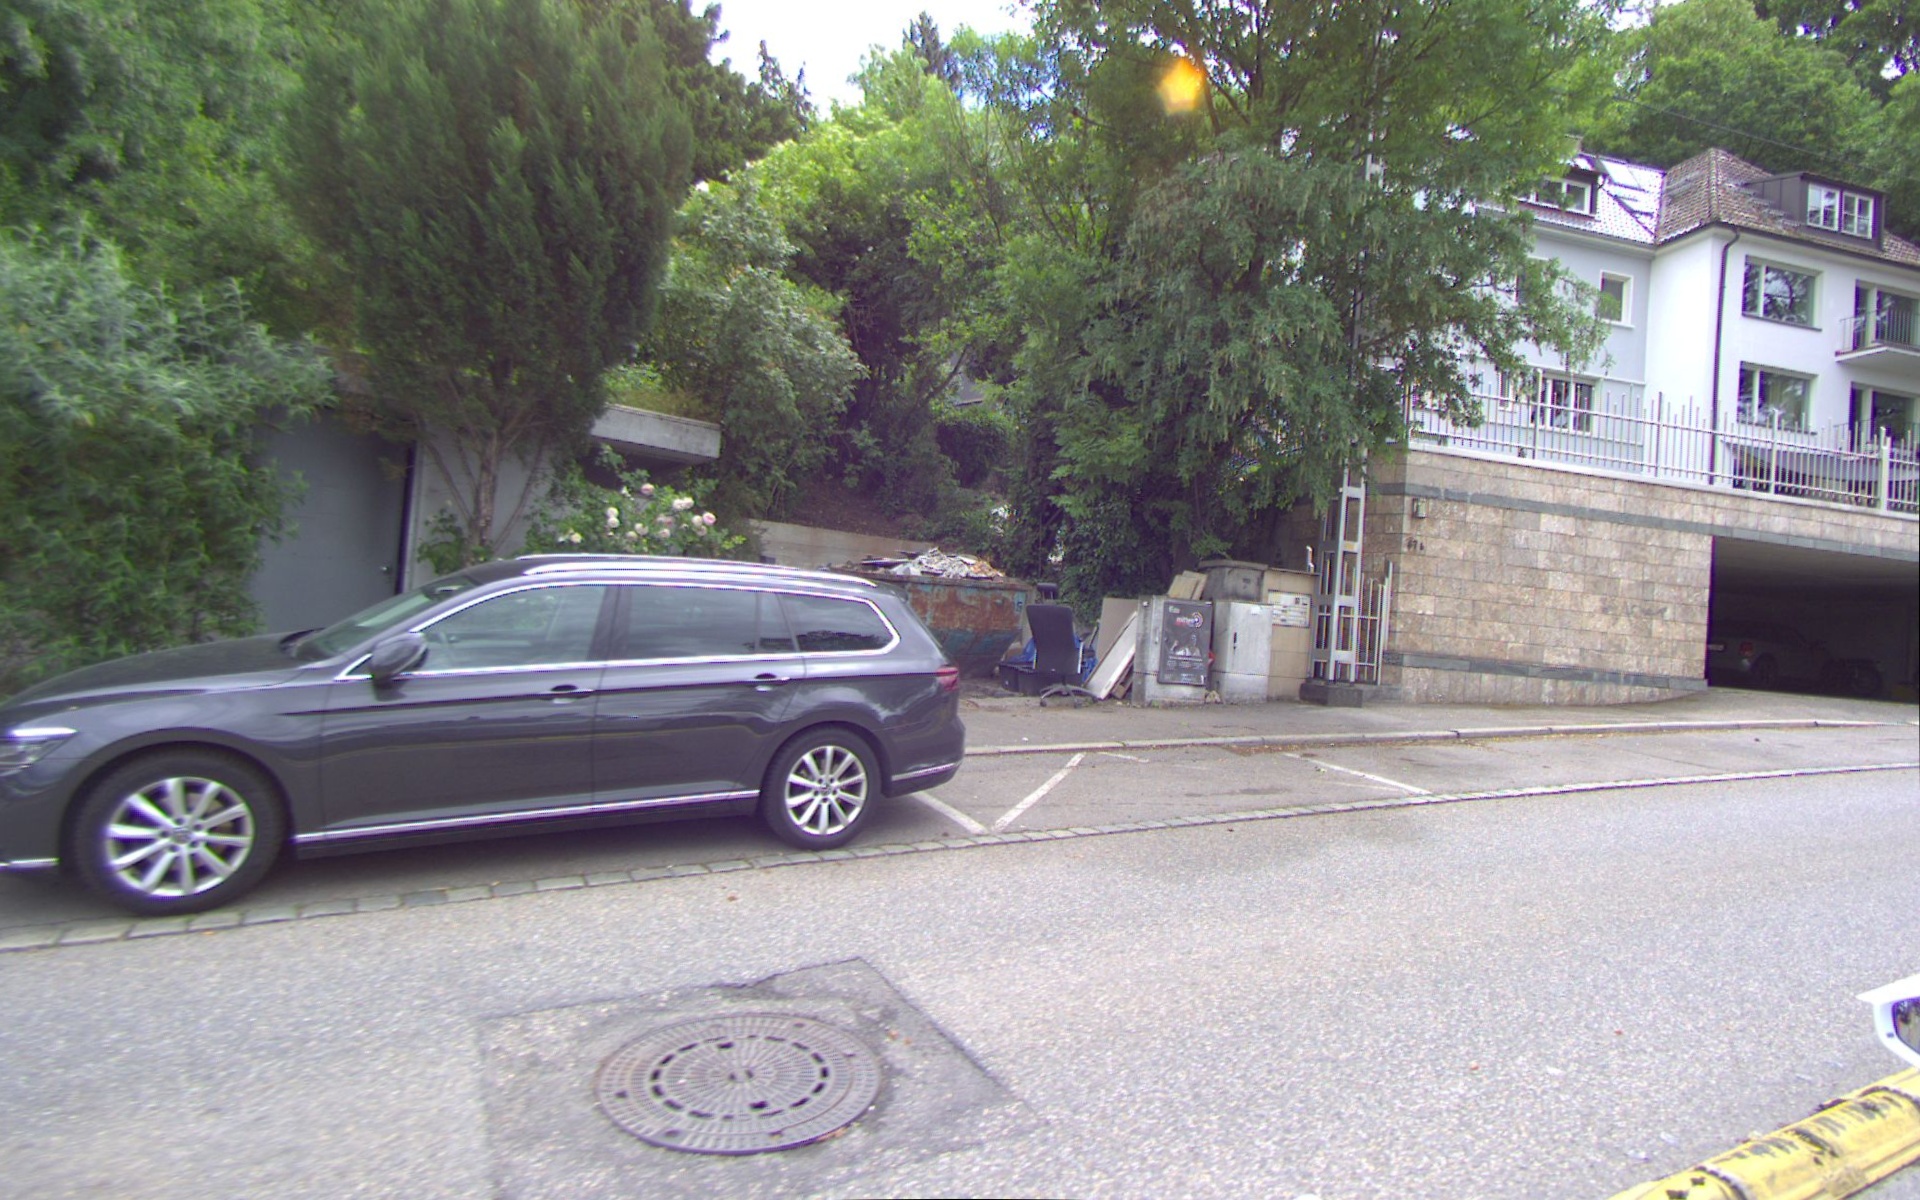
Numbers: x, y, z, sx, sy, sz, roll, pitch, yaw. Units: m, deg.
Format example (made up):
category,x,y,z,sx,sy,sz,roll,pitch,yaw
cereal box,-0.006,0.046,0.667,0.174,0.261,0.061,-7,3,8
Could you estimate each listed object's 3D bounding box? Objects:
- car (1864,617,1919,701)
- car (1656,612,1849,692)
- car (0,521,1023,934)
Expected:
category,x,y,z,sx,sy,sz,roll,pitch,yaw
car,18.851,1.188,18.303,3.641,1.472,1.782,4,0,-15
car,17.080,1.118,21.658,3.496,1.438,1.766,4,0,-23
car,-2.097,0.481,5.377,4.628,1.471,1.727,2,3,-30
